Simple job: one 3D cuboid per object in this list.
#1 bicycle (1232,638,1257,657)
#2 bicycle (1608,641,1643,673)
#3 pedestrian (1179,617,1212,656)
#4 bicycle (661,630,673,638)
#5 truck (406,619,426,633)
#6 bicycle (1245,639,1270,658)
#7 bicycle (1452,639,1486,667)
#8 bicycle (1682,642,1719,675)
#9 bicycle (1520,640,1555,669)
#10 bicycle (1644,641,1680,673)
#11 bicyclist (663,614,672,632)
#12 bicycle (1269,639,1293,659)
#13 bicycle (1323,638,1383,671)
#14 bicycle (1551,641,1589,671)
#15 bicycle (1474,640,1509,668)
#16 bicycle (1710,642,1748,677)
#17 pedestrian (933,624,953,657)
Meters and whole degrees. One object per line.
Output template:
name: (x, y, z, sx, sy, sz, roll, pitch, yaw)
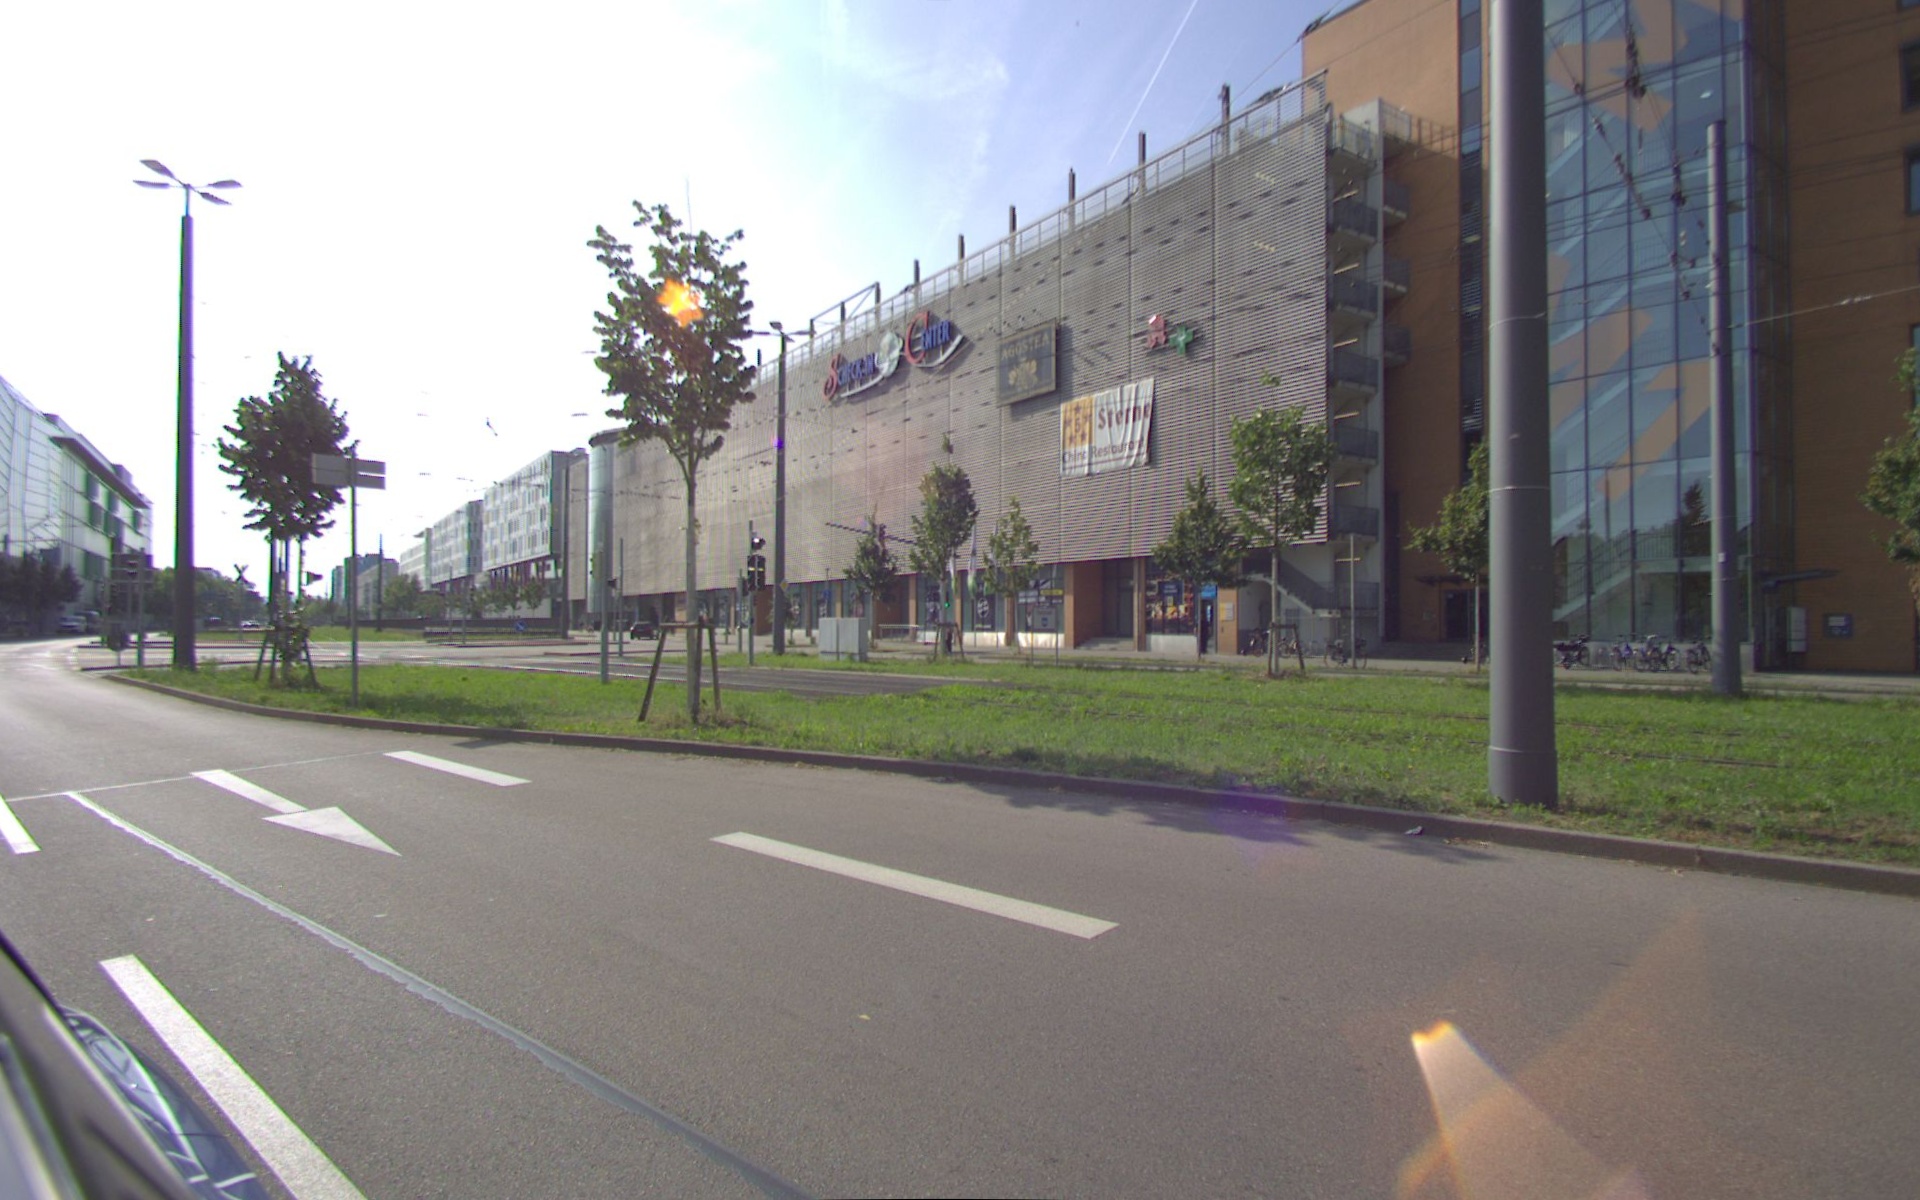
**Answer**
bicycle: (12.027, 2.000, 42.783, 0.989, 0.758, 0.453, 1, -2, -34)
bicycle: (21.135, 1.800, 32.136, 1.558, 0.947, 0.412, 1, -2, -36)
pedestrian: (10.520, 1.620, 45.196, 0.806, 1.732, 1.179, 1, -2, -35)
bicycle: (-27.273, 3.147, 94.155, 0.573, 0.785, 1.874, 1, -2, -34)
truck: (-92.392, 4.392, 171.811, 2.172, 2.339, 4.559, 1, -2, -39)
bicycle: (12.422, 2.004, 42.225, 0.989, 0.758, 0.453, 1, -2, -34)
bicycle: (18.131, 1.888, 36.042, 1.558, 0.947, 0.412, 1, -2, -36)
bicycle: (22.228, 1.739, 30.376, 1.558, 0.947, 0.412, 1, -2, -36)
bicycle: (19.602, 1.830, 34.334, 1.558, 0.947, 0.412, 1, -2, -36)
bicycle: (21.797, 1.768, 31.406, 1.558, 0.947, 0.412, 1, -2, -36)
bicyclist: (-27.246, 2.111, 94.163, 0.559, 1.642, 0.716, 2, -1, -36)
bicycle: (13.085, 1.990, 41.232, 1.007, 0.758, 0.362, 1, -2, -34)
bicycle: (13.317, 1.843, 34.373, 0.438, 0.995, 2.171, 1, -1, -26)
bicycle: (19.921, 1.809, 33.023, 1.558, 0.947, 0.474, 1, -2, -36)
bicycle: (18.614, 1.883, 35.439, 1.558, 0.947, 0.412, 1, -2, -36)
bicycle: (22.183, 1.708, 29.191, 1.558, 0.947, 0.412, 1, -2, -36)
pedestrian: (-0.834, 1.951, 49.077, 0.751, 1.591, 0.591, 1, -2, -39)
